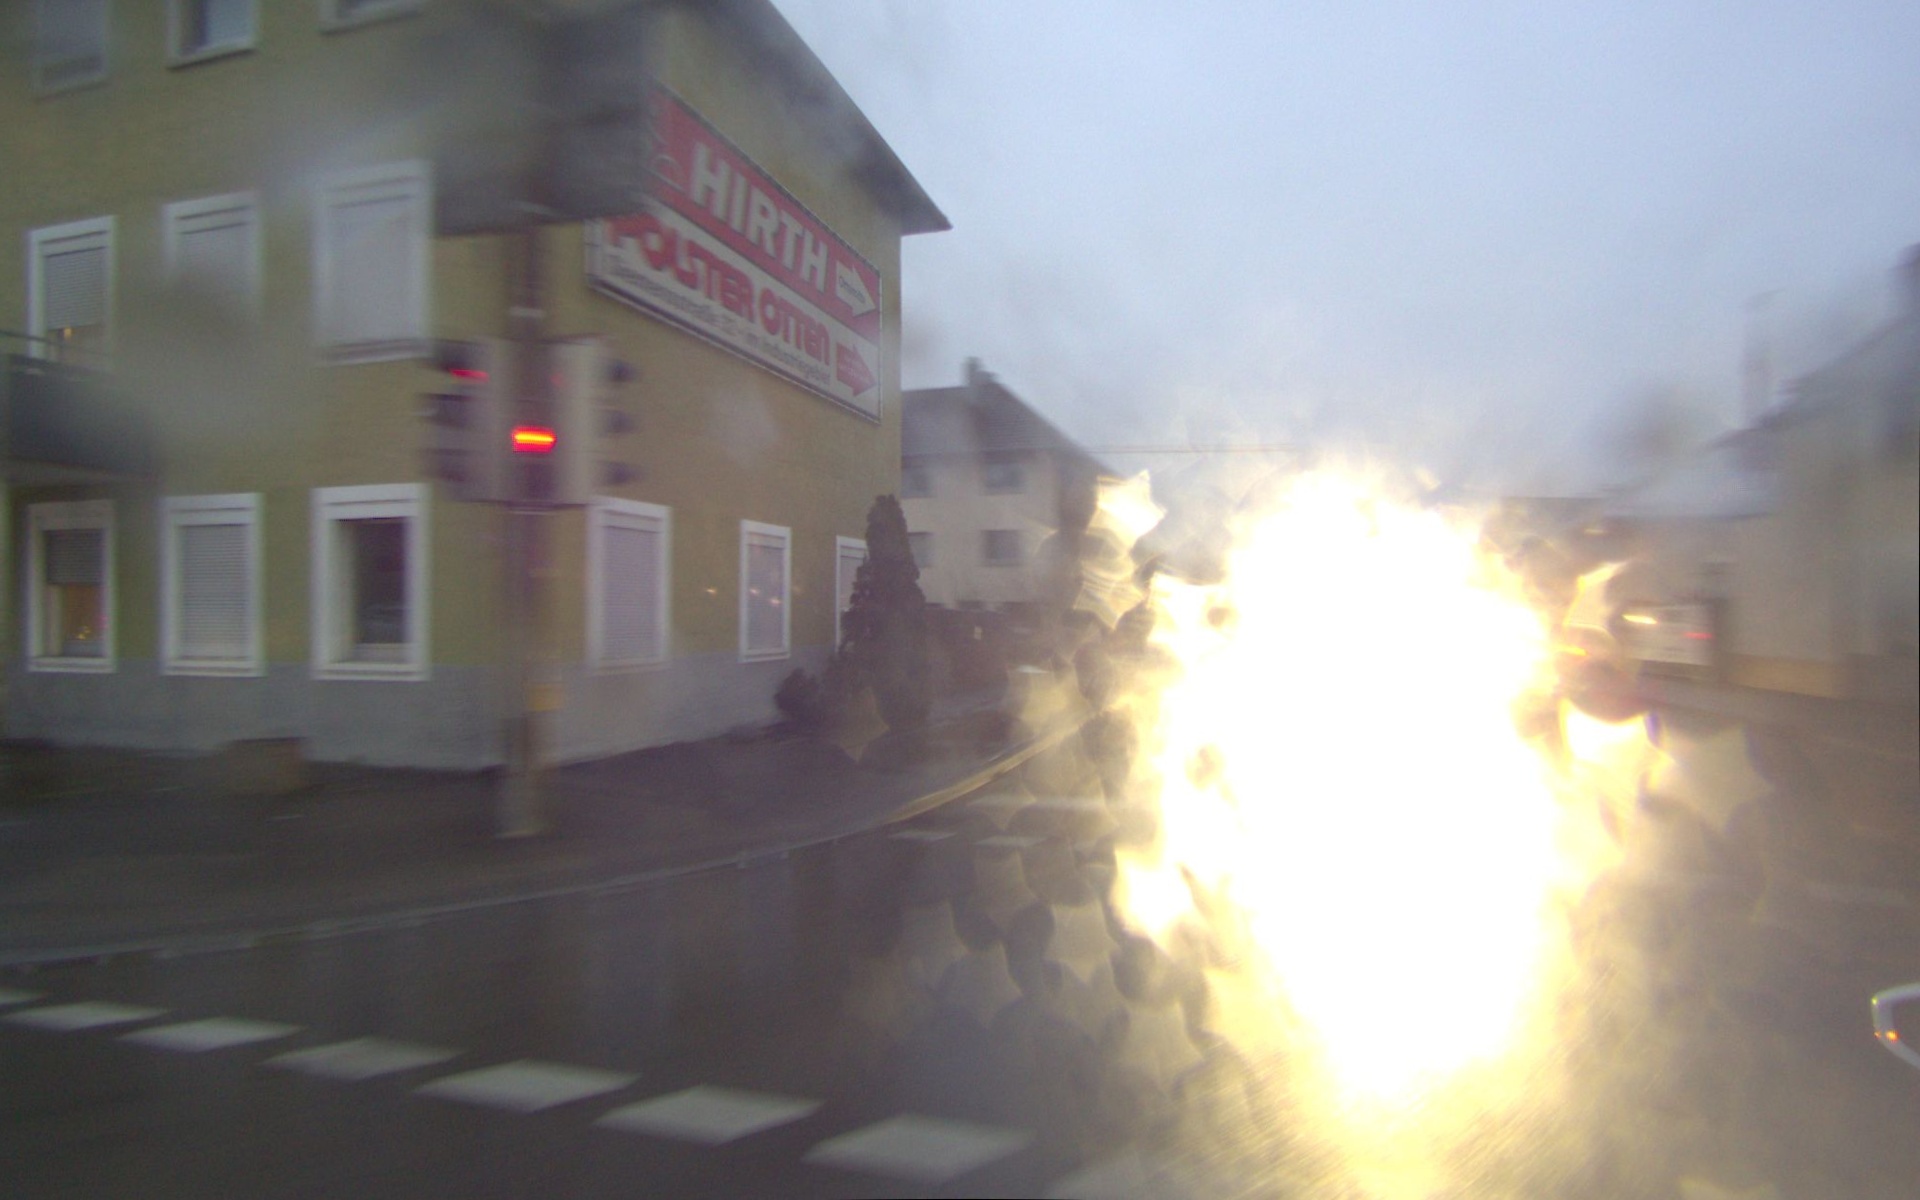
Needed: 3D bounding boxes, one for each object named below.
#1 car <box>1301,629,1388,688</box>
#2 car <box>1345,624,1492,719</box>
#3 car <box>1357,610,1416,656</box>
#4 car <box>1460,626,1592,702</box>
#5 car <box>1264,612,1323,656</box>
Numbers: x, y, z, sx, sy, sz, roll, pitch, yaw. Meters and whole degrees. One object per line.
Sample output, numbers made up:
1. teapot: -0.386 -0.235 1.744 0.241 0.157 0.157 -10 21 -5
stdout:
1. car: 10.255 1.517 27.052 1.794 1.391 4.288 0 -1 16
2. car: 8.009 1.160 17.920 1.849 1.412 4.525 0 -1 18
3. car: 18.528 1.384 43.812 1.960 1.907 4.001 -1 -1 17
4. car: 13.223 1.425 23.765 2.013 1.593 4.703 0 -2 21
5. car: 12.898 1.281 39.060 1.844 1.606 4.292 -1 -1 14
